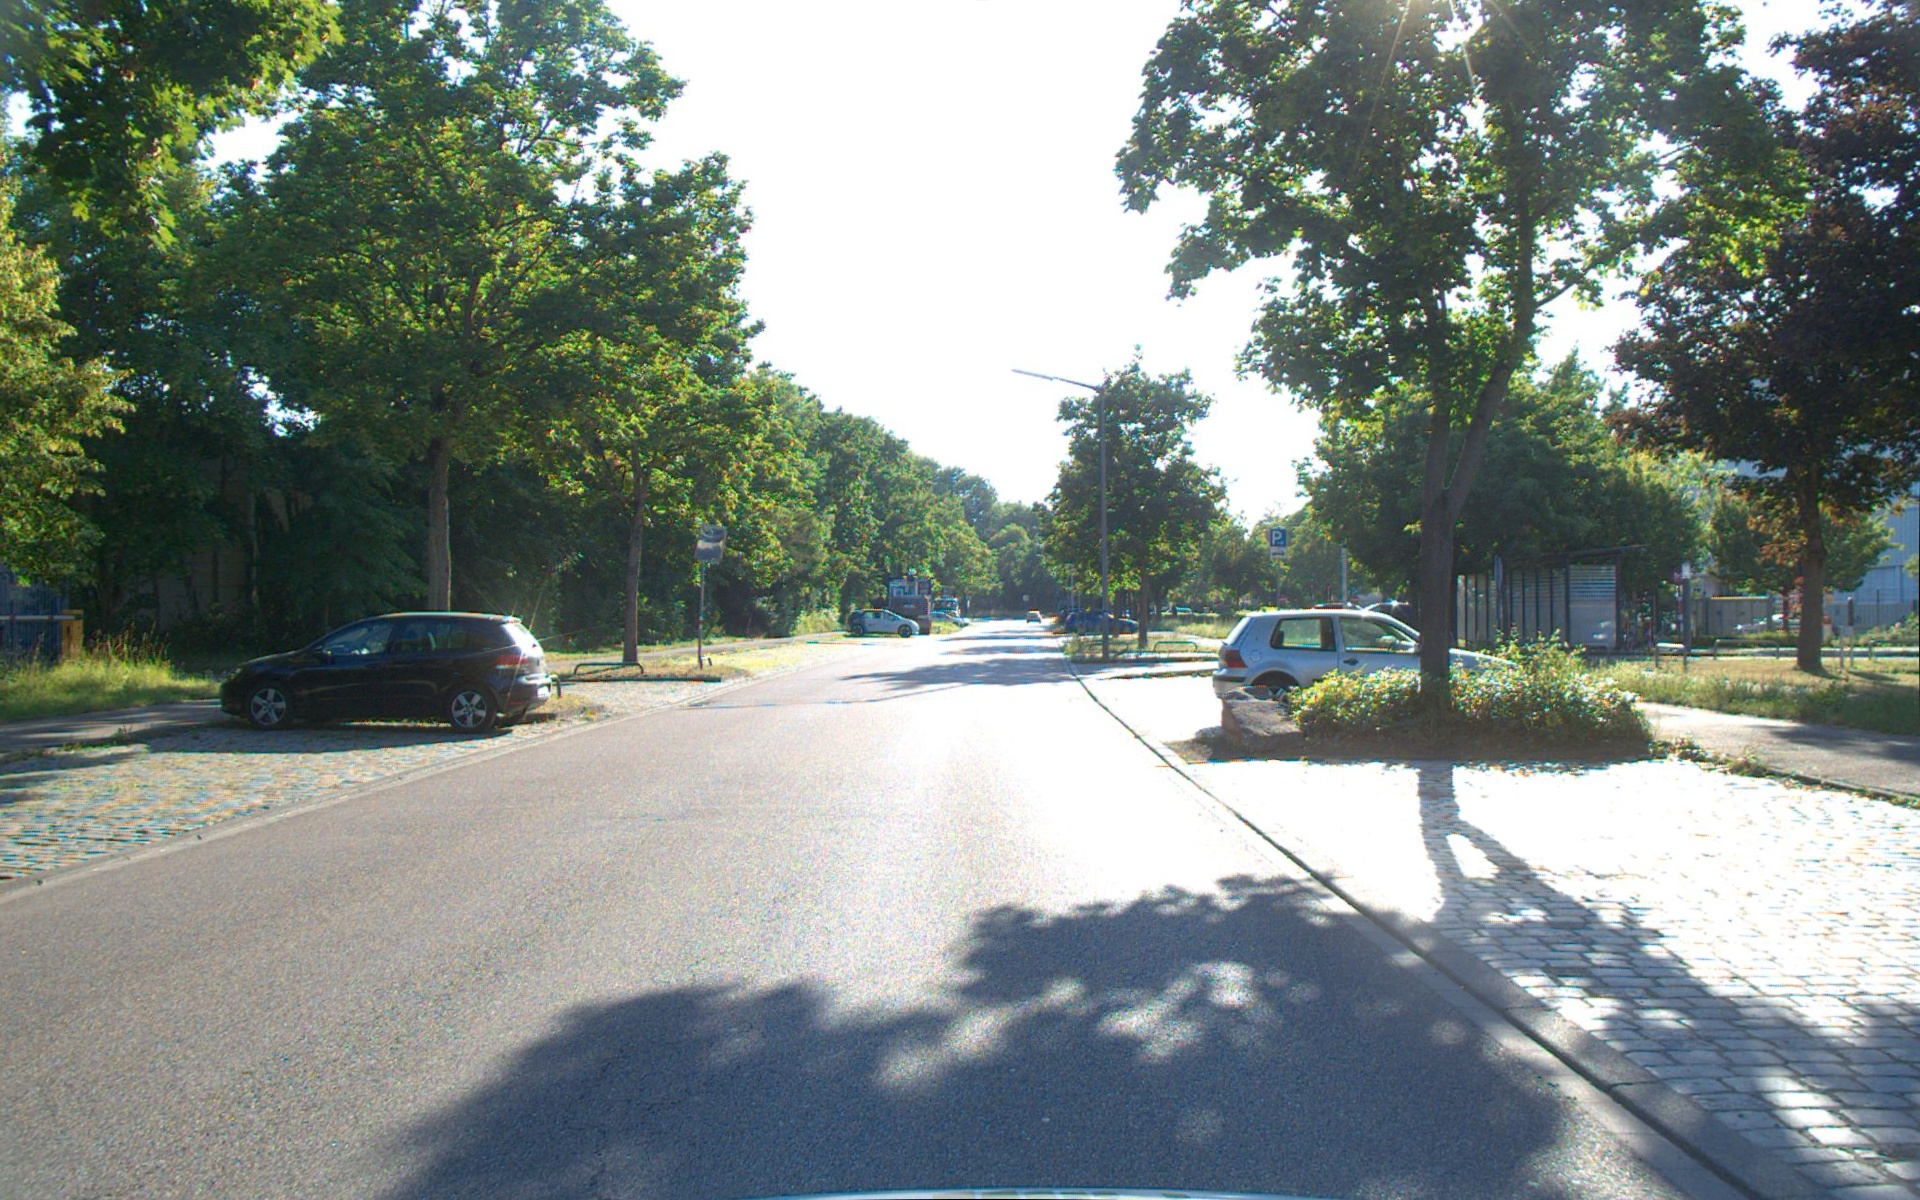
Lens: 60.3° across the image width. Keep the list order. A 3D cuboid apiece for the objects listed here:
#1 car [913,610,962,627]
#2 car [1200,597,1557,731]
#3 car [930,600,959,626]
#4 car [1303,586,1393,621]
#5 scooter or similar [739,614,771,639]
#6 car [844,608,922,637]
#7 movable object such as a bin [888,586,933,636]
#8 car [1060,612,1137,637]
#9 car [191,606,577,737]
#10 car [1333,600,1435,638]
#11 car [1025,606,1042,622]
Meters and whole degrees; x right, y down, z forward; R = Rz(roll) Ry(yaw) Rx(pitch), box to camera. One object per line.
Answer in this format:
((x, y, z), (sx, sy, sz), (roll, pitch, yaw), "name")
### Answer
((-2.054, 1.638, 147.908), (4.272, 1.505, 1.998), (-1, 0, -4), "car")
((5.347, 0.819, 21.615), (4.265, 1.505, 2.002), (-3, -1, 9), "car")
((-1.476, 1.212, 157.508), (2.467, 2.428, 4.369), (-1, 0, -4), "car")
((20.150, 0.183, 85.986), (4.267, 1.735, 2.001), (-1, 0, 4), "car")
((-9.969, 1.281, 80.436), (0.567, 1.165, 1.575), (-1, -1, 42), "scooter or similar")
((-4.414, 1.281, 95.026), (4.267, 1.574, 2.001), (-1, 0, 3), "car")
((-3.217, 0.708, 107.697), (2.781, 3.122, 4.925), (-1, 0, -2), "movable object such as a bin")
((8.690, 1.509, 103.822), (4.740, 1.505, 2.001), (-1, 0, 3), "car")
((-7.377, 0.891, 21.519), (4.269, 1.505, 2.000), (2, 0, -1), "car")
((20.080, 0.890, 78.398), (4.337, 1.735, 2.059), (-1, 0, 1), "car")
((9.334, 1.809, 210.193), (1.952, 1.937, 4.000), (-1, 0, 1), "car")
